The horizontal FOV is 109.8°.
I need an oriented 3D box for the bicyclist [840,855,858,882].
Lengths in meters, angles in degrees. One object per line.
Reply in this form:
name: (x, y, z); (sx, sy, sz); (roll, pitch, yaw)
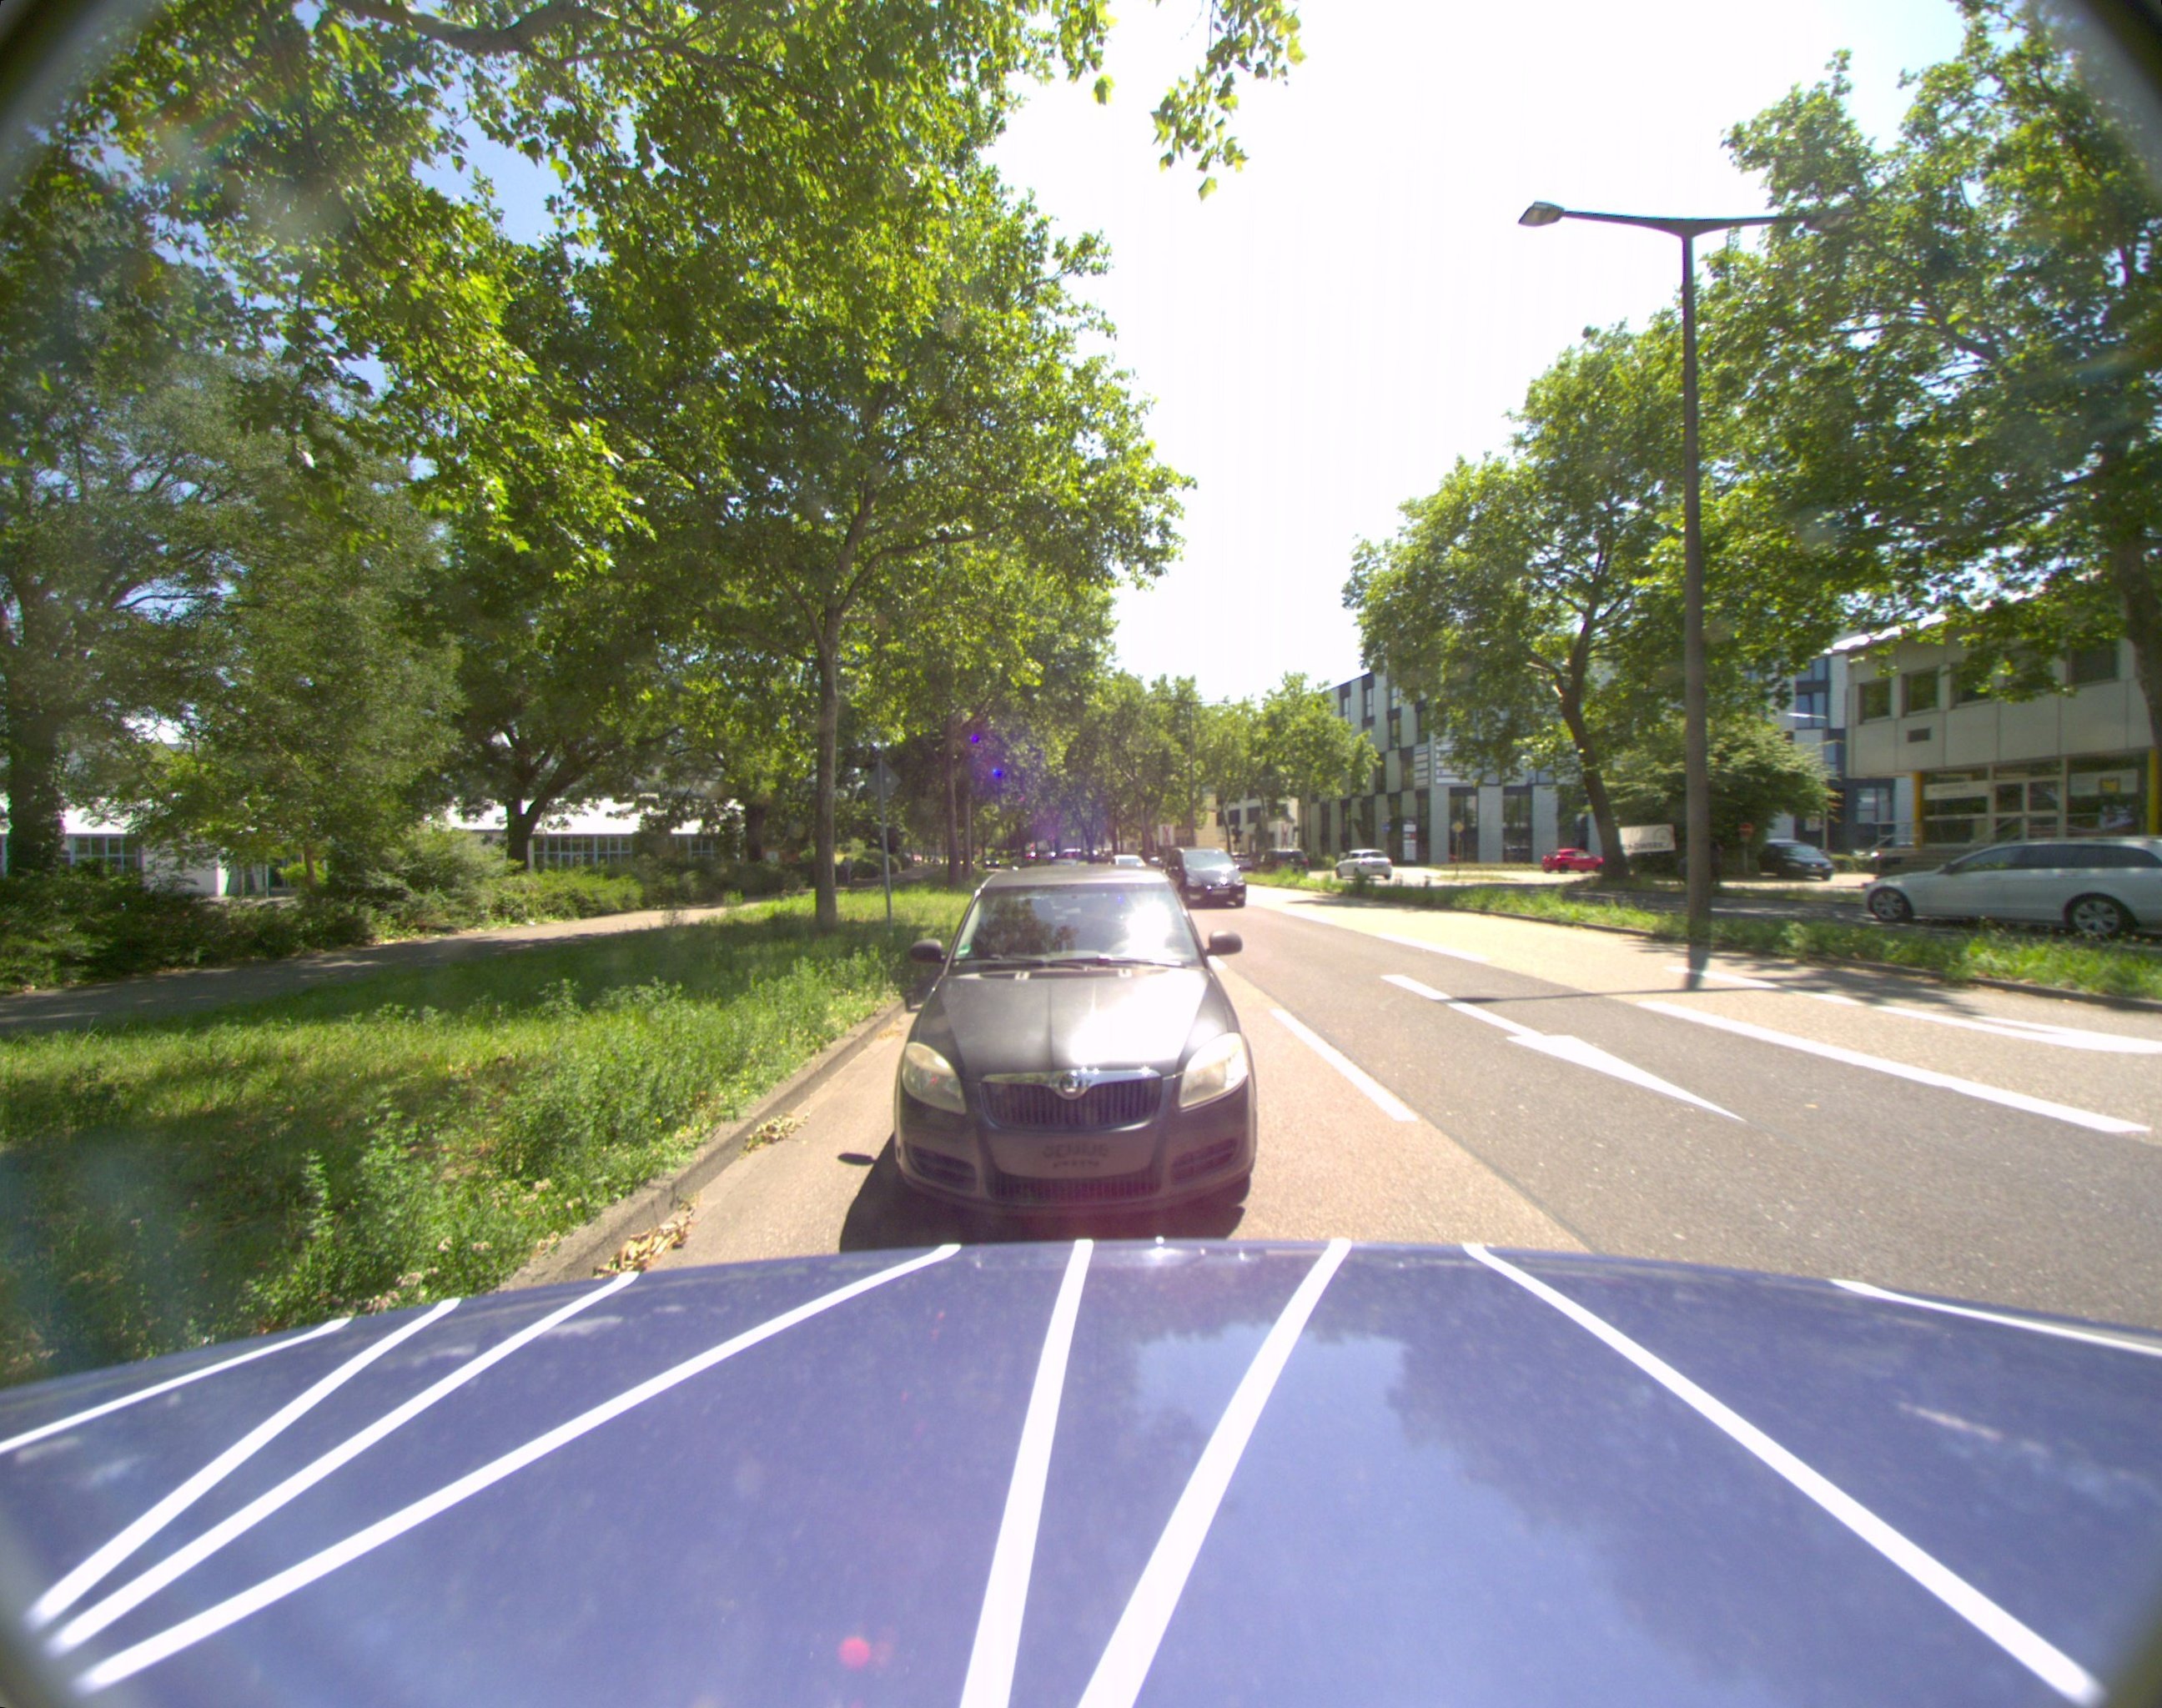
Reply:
bicyclist: (-11.445, 0.703, 37.529); (0.600, 1.331, 0.666); (-1, 1, 5)

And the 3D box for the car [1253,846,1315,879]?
car: (10.831, 0.442, 40.911); (1.954, 1.646, 4.620); (-1, 0, -2)

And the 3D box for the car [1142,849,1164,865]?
car: (7.095, 0.261, 75.071); (1.537, 1.519, 2.852); (-1, 0, -6)

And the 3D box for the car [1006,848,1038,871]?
car: (-5.139, 0.477, 65.779); (2.001, 1.871, 3.994); (-1, 0, -16)

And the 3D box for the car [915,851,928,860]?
car: (-32.995, 0.319, 157.293); (2.002, 1.827, 3.992); (-1, 0, -23)

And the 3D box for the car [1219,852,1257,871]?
car: (12.261, 0.562, 59.554); (1.757, 1.435, 3.669); (-1, 0, -9)

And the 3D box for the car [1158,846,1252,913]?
car: (3.563, 0.671, 22.725); (1.859, 1.745, 4.647); (-1, 0, -2)

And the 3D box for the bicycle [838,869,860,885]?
bicycle: (-11.451, 1.136, 37.508); (0.465, 0.760, 1.669); (-1, 0, 5)

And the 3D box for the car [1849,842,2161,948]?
car: (15.383, 0.532, 12.042); (1.858, 1.410, 4.547); (-1, 0, 0)

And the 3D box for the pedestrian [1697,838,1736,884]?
pedestrian: (21.790, 0.243, 26.067); (0.643, 1.551, 0.791); (-1, 1, -6)

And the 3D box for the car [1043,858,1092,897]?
car: (-0.506, 0.943, 31.756); (1.878, 1.448, 3.786); (-2, 0, 1)

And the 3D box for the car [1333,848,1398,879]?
car: (14.503, 0.460, 38.946); (1.737, 1.450, 3.672); (-1, 0, -4)

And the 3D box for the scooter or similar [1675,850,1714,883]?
scooter or similar: (21.711, 0.428, 26.904); (0.680, 1.157, 0.859); (-1, 1, -5)

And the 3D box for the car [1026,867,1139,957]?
car: (0.044, 0.976, 14.146); (1.791, 1.325, 3.742); (-2, 0, 1)

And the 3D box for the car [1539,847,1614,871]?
car: (30.656, 0.298, 47.060); (3.527, 1.453, 1.677); (-1, 0, 1)

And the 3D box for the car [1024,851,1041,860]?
car: (-8.837, 0.249, 137.361); (1.957, 1.600, 3.993); (-1, 0, -20)

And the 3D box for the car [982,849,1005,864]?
car: (-10.787, 0.315, 93.451); (2.002, 1.783, 3.993); (-1, 0, -19)

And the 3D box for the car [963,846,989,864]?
car: (-16.292, 0.112, 117.952); (2.922, 2.639, 6.356); (-1, 1, -17)

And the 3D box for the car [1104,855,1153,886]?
car: (2.277, 0.773, 37.155); (1.624, 1.437, 3.648); (-1, 0, -9)

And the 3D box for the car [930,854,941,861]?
car: (-26.958, 0.634, 140.590); (1.510, 1.379, 3.422); (-1, 0, -21)

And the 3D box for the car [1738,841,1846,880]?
car: (32.821, 0.250, 35.194); (1.819, 1.638, 3.528); (-2, 1, 4)

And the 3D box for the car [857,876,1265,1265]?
car: (-0.057, 0.954, 5.072); (1.654, 1.453, 3.865); (-1, 0, 1)
